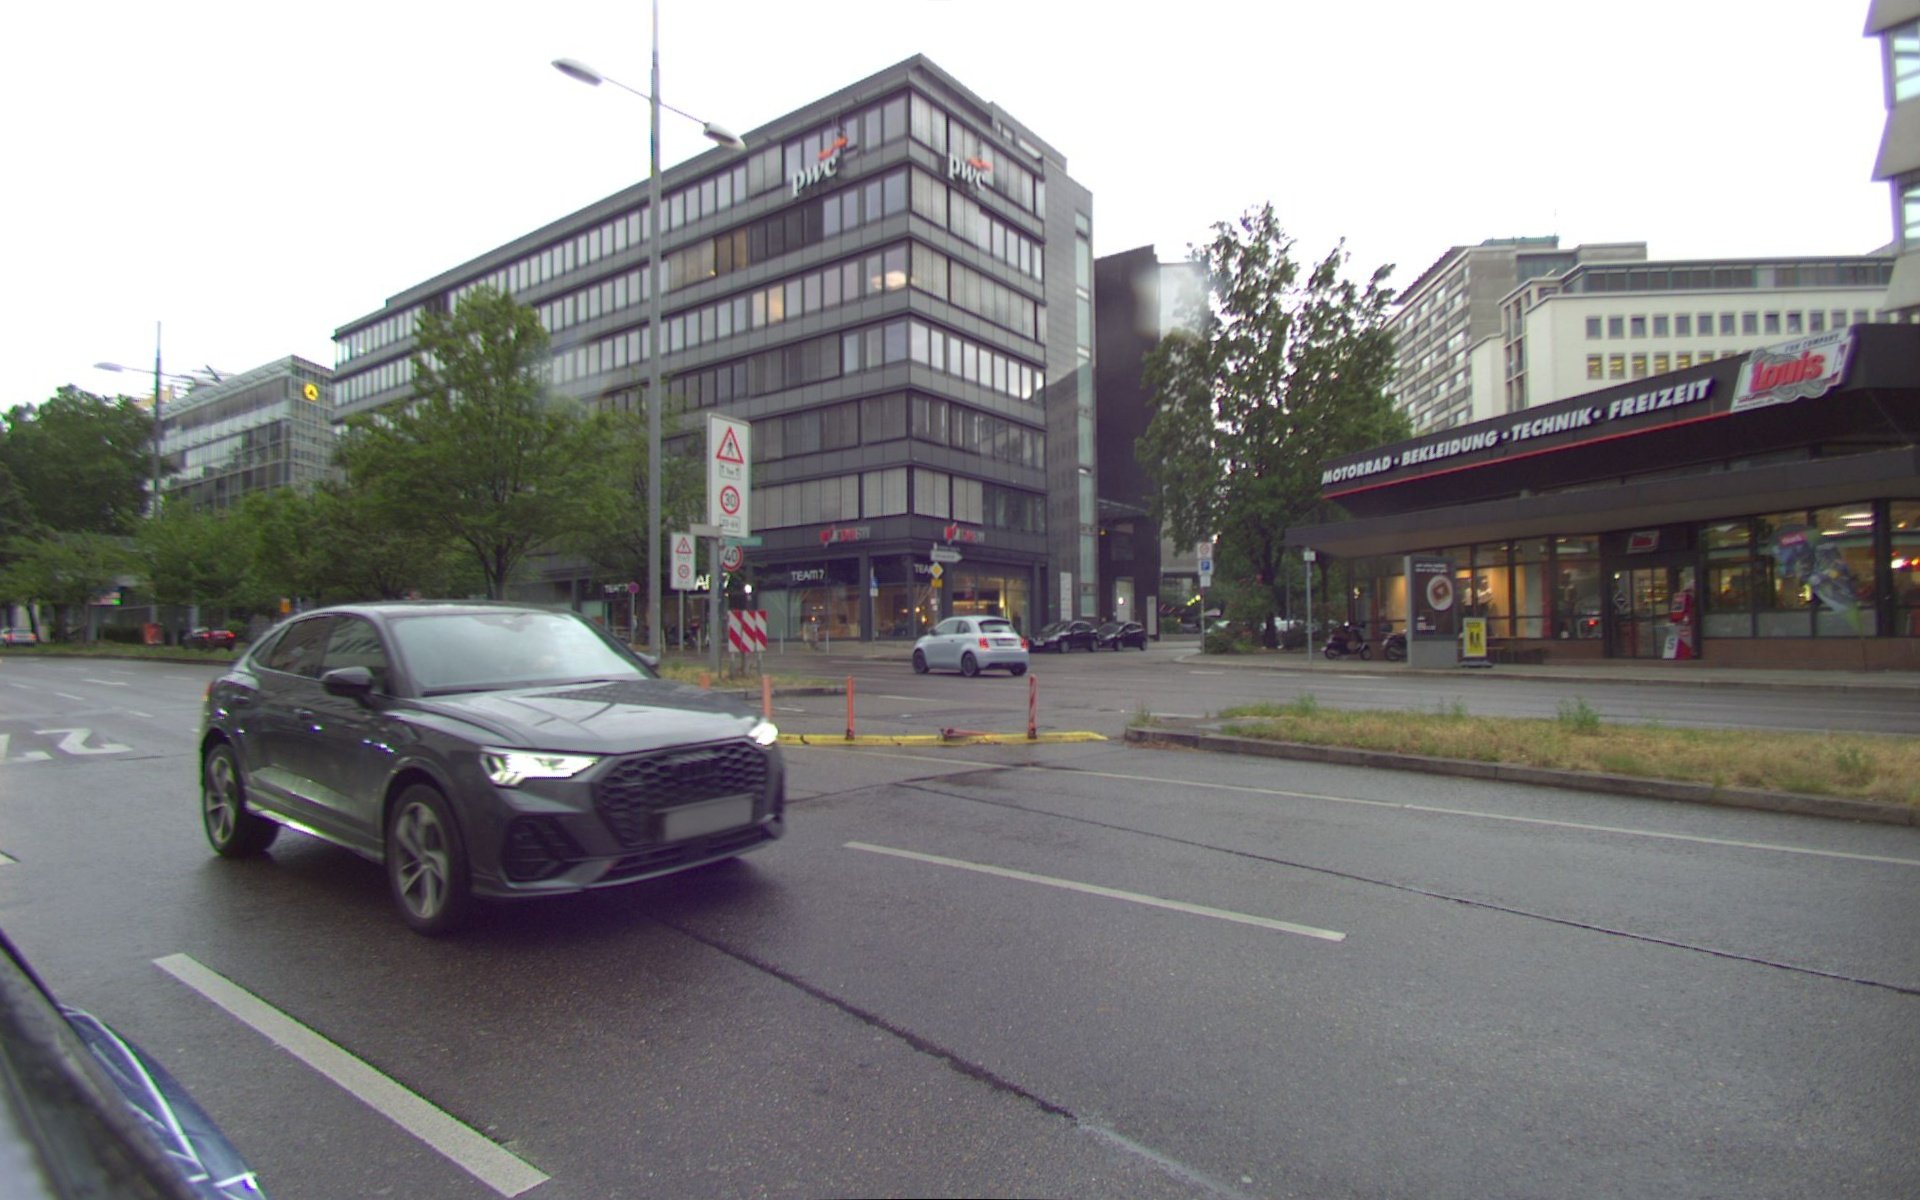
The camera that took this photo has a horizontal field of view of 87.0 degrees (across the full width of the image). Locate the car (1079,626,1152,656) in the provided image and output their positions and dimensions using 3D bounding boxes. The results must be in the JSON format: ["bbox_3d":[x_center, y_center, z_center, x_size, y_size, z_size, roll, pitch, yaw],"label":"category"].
[{"bbox_3d":[7.609,1.949,49.259,1.844,1.298,3.950,-1,-1,37],"label":"car"}]

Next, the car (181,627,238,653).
[{"bbox_3d":[-46.805,2.493,63.067,4.480,1.556,1.973,-2,-2,41],"label":"car"}]

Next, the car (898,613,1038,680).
[{"bbox_3d":[0.135,1.156,26.121,1.760,1.585,3.700,0,-2,-36],"label":"car"}]

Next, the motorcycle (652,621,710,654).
[{"bbox_3d":[-12.409,1.662,44.998,2.344,1.404,0.857,-1,2,10],"label":"motorcycle"}]

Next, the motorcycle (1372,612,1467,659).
[{"bbox_3d":[14.277,1.085,31.444,2.843,1.384,0.806,-1,-1,-16],"label":"motorcycle"}]

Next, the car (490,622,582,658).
[{"bbox_3d":[-20.008,1.883,47.662,4.764,1.496,1.792,-2,2,37],"label":"car"}]

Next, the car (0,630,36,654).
[{"bbox_3d":[-72.719,3.236,77.654,4.483,1.741,1.722,-2,-2,35],"label":"car"}]

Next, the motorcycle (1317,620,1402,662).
[{"bbox_3d":[13.560,1.385,34.372,2.773,1.343,0.725,-1,-1,-15],"label":"motorcycle"}]

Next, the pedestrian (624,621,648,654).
[{"bbox_3d":[-16.526,1.889,51.615,0.964,1.650,0.776,-2,-2,36],"label":"pedestrian"}]

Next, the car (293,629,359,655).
[{"bbox_3d":[-38.256,2.509,61.056,4.298,1.455,1.794,-2,-1,34],"label":"car"}]

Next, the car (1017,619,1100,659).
[{"bbox_3d":[4.496,1.720,45.642,1.996,1.652,3.951,-1,-1,36],"label":"car"}]

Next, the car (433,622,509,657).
[{"bbox_3d":[-24.875,1.998,51.396,4.304,1.673,1.791,-2,-1,38],"label":"car"}]

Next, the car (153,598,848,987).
[{"bbox_3d":[-2.856,0.779,5.865,4.281,1.446,1.918,-2,-2,38],"label":"car"}]
